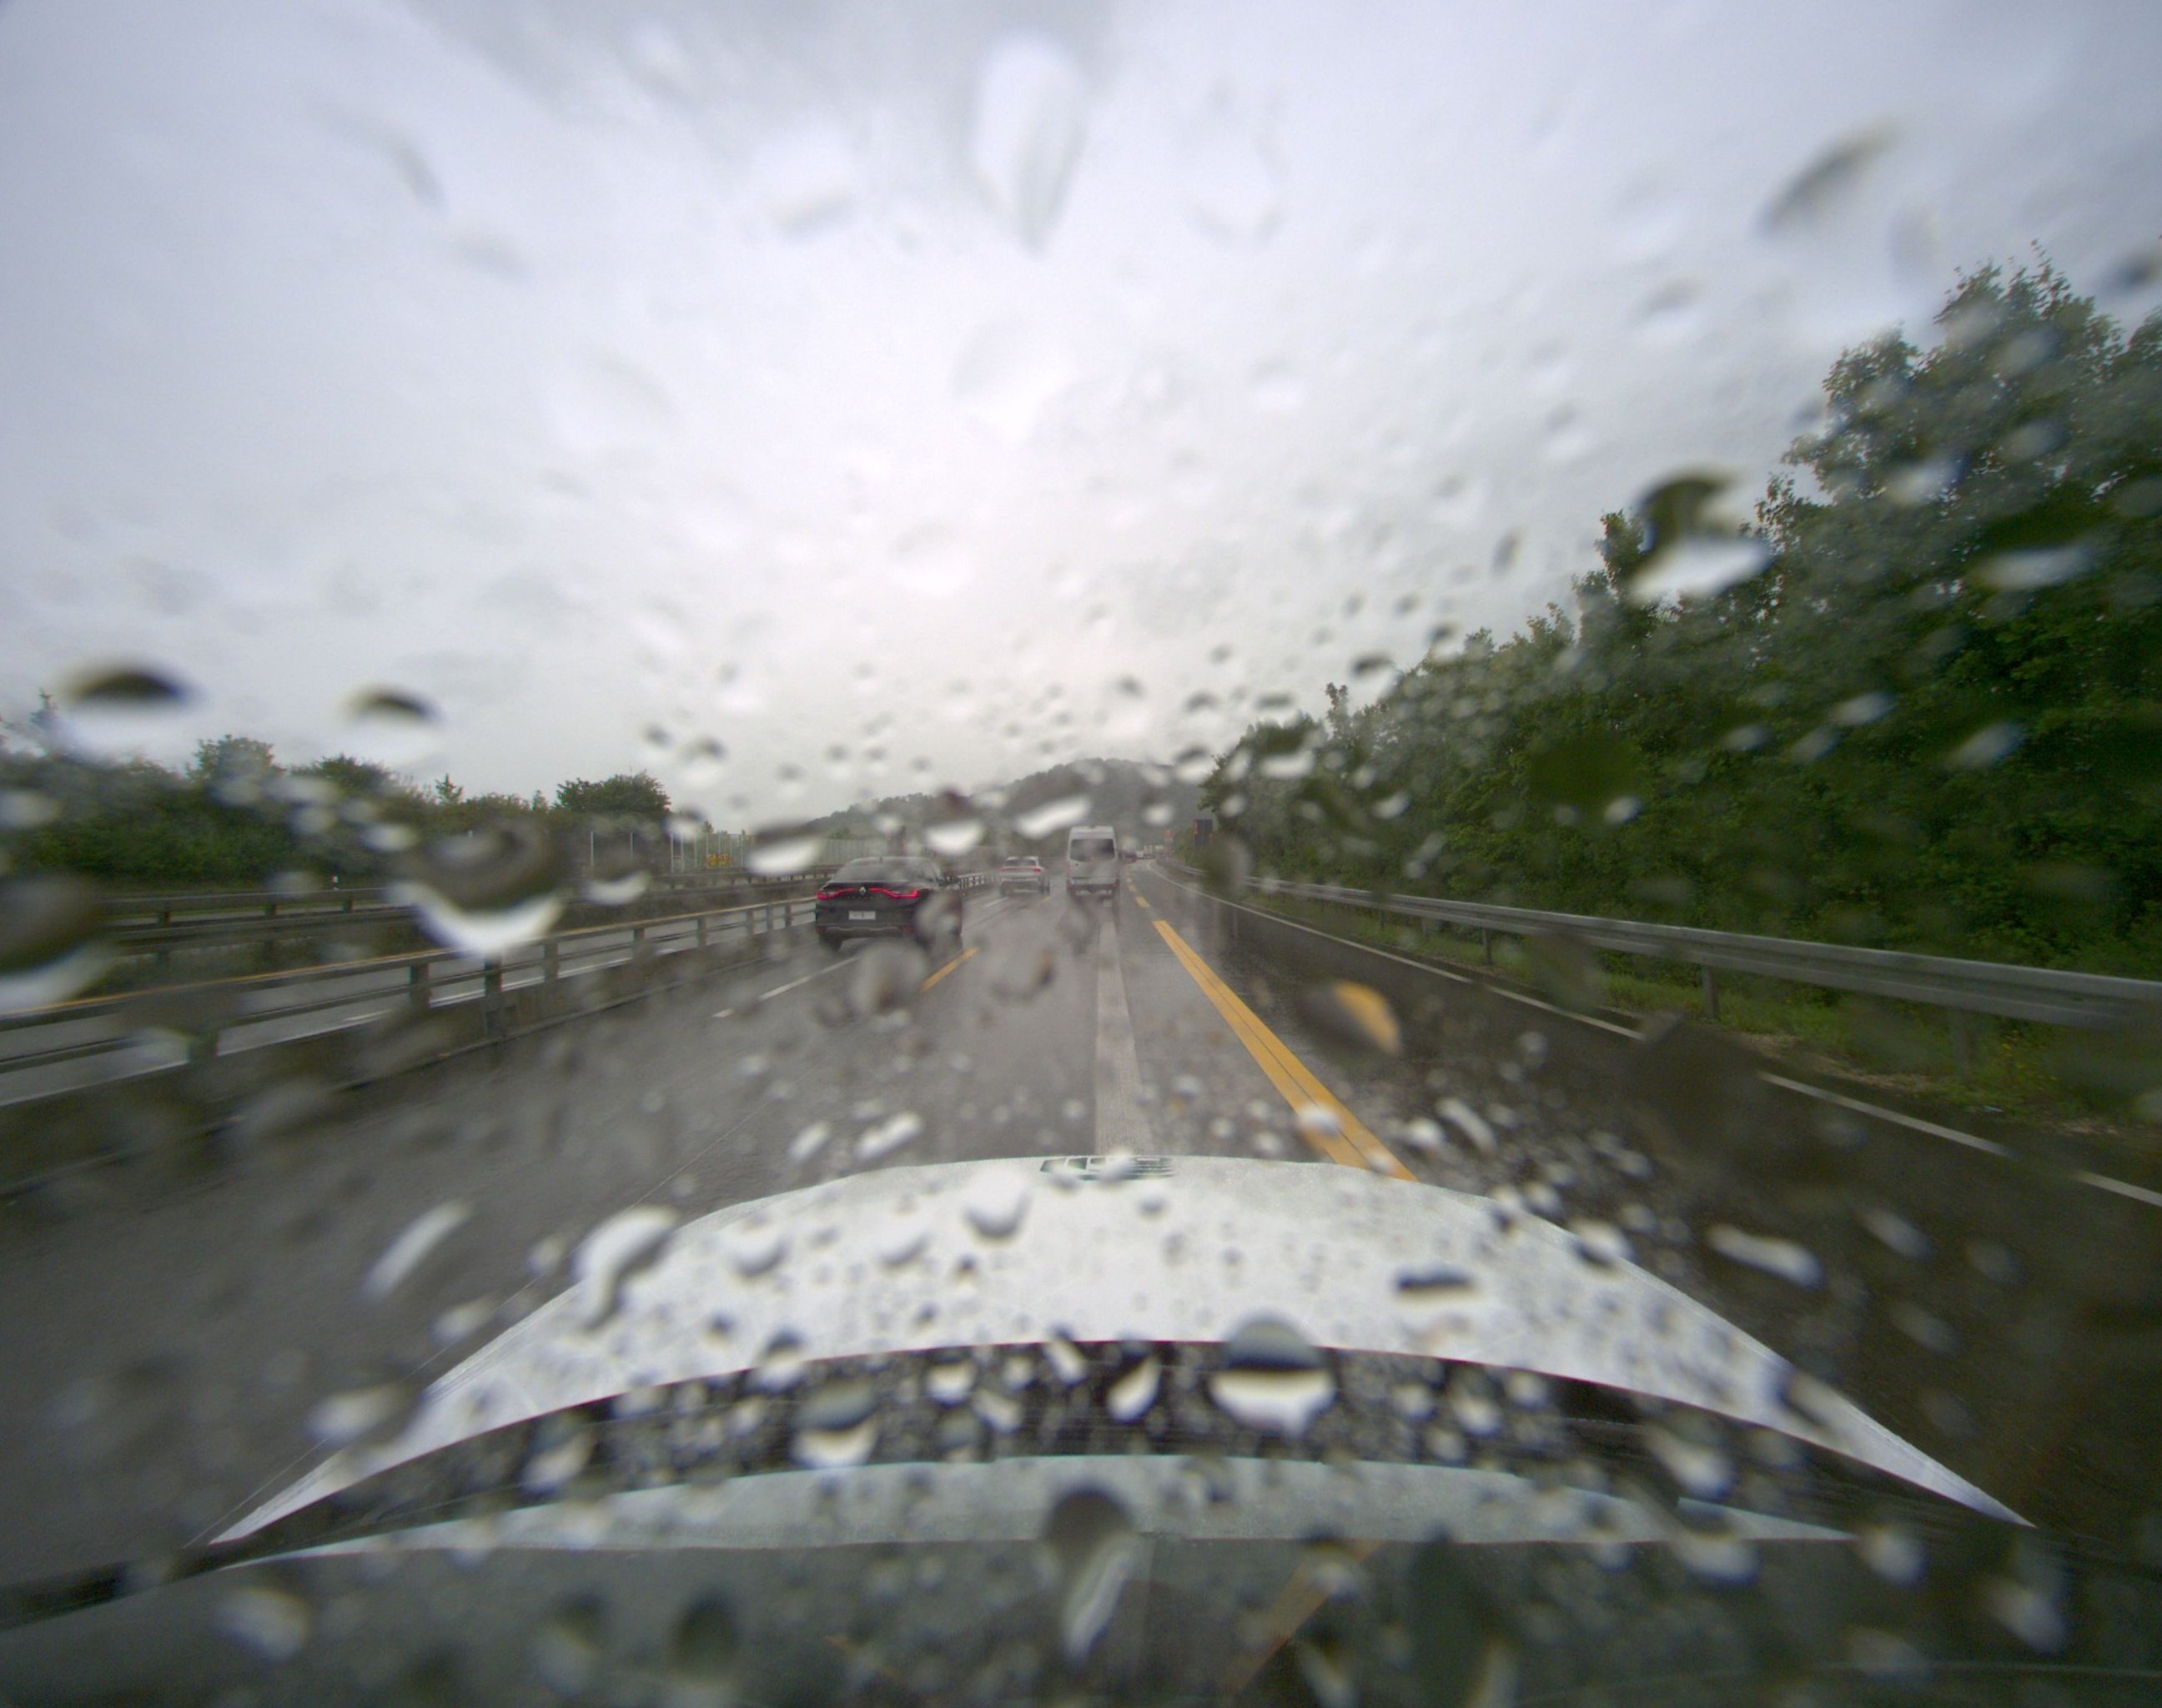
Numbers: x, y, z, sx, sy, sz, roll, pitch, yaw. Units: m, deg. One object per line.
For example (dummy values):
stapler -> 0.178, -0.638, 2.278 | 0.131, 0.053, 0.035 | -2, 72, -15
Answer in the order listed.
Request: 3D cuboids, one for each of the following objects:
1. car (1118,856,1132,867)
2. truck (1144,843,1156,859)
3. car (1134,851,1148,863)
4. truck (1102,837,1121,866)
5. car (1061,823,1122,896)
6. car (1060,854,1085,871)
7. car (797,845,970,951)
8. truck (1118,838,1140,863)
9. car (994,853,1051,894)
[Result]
car -> 5.968, 1.025, 111.034 | 1.765, 1.475, 4.005 | 0, -1, 5
truck -> 19.603, -0.713, 232.119 | 3.020, 4.406, 9.643 | 0, -1, 7
car -> 14.512, 0.640, 197.698 | 2.882, 2.887, 6.426 | 0, -1, 8
truck -> 3.434, -0.244, 91.677 | 1.985, 3.109, 8.505 | 0, -1, 3
car -> 0.411, 0.230, 31.342 | 2.137, 2.571, 5.390 | 0, -1, 1
car -> -0.713, 0.781, 74.257 | 1.938, 1.561, 4.005 | 0, -1, 4
car -> -3.264, 0.674, 14.450 | 1.987, 1.585, 4.412 | 0, -1, 0
truck -> 8.986, -0.597, 151.435 | 3.563, 4.406, 9.640 | 0, -1, 6
car -> -2.406, 0.797, 34.692 | 1.986, 1.617, 4.797 | 0, -1, 1
